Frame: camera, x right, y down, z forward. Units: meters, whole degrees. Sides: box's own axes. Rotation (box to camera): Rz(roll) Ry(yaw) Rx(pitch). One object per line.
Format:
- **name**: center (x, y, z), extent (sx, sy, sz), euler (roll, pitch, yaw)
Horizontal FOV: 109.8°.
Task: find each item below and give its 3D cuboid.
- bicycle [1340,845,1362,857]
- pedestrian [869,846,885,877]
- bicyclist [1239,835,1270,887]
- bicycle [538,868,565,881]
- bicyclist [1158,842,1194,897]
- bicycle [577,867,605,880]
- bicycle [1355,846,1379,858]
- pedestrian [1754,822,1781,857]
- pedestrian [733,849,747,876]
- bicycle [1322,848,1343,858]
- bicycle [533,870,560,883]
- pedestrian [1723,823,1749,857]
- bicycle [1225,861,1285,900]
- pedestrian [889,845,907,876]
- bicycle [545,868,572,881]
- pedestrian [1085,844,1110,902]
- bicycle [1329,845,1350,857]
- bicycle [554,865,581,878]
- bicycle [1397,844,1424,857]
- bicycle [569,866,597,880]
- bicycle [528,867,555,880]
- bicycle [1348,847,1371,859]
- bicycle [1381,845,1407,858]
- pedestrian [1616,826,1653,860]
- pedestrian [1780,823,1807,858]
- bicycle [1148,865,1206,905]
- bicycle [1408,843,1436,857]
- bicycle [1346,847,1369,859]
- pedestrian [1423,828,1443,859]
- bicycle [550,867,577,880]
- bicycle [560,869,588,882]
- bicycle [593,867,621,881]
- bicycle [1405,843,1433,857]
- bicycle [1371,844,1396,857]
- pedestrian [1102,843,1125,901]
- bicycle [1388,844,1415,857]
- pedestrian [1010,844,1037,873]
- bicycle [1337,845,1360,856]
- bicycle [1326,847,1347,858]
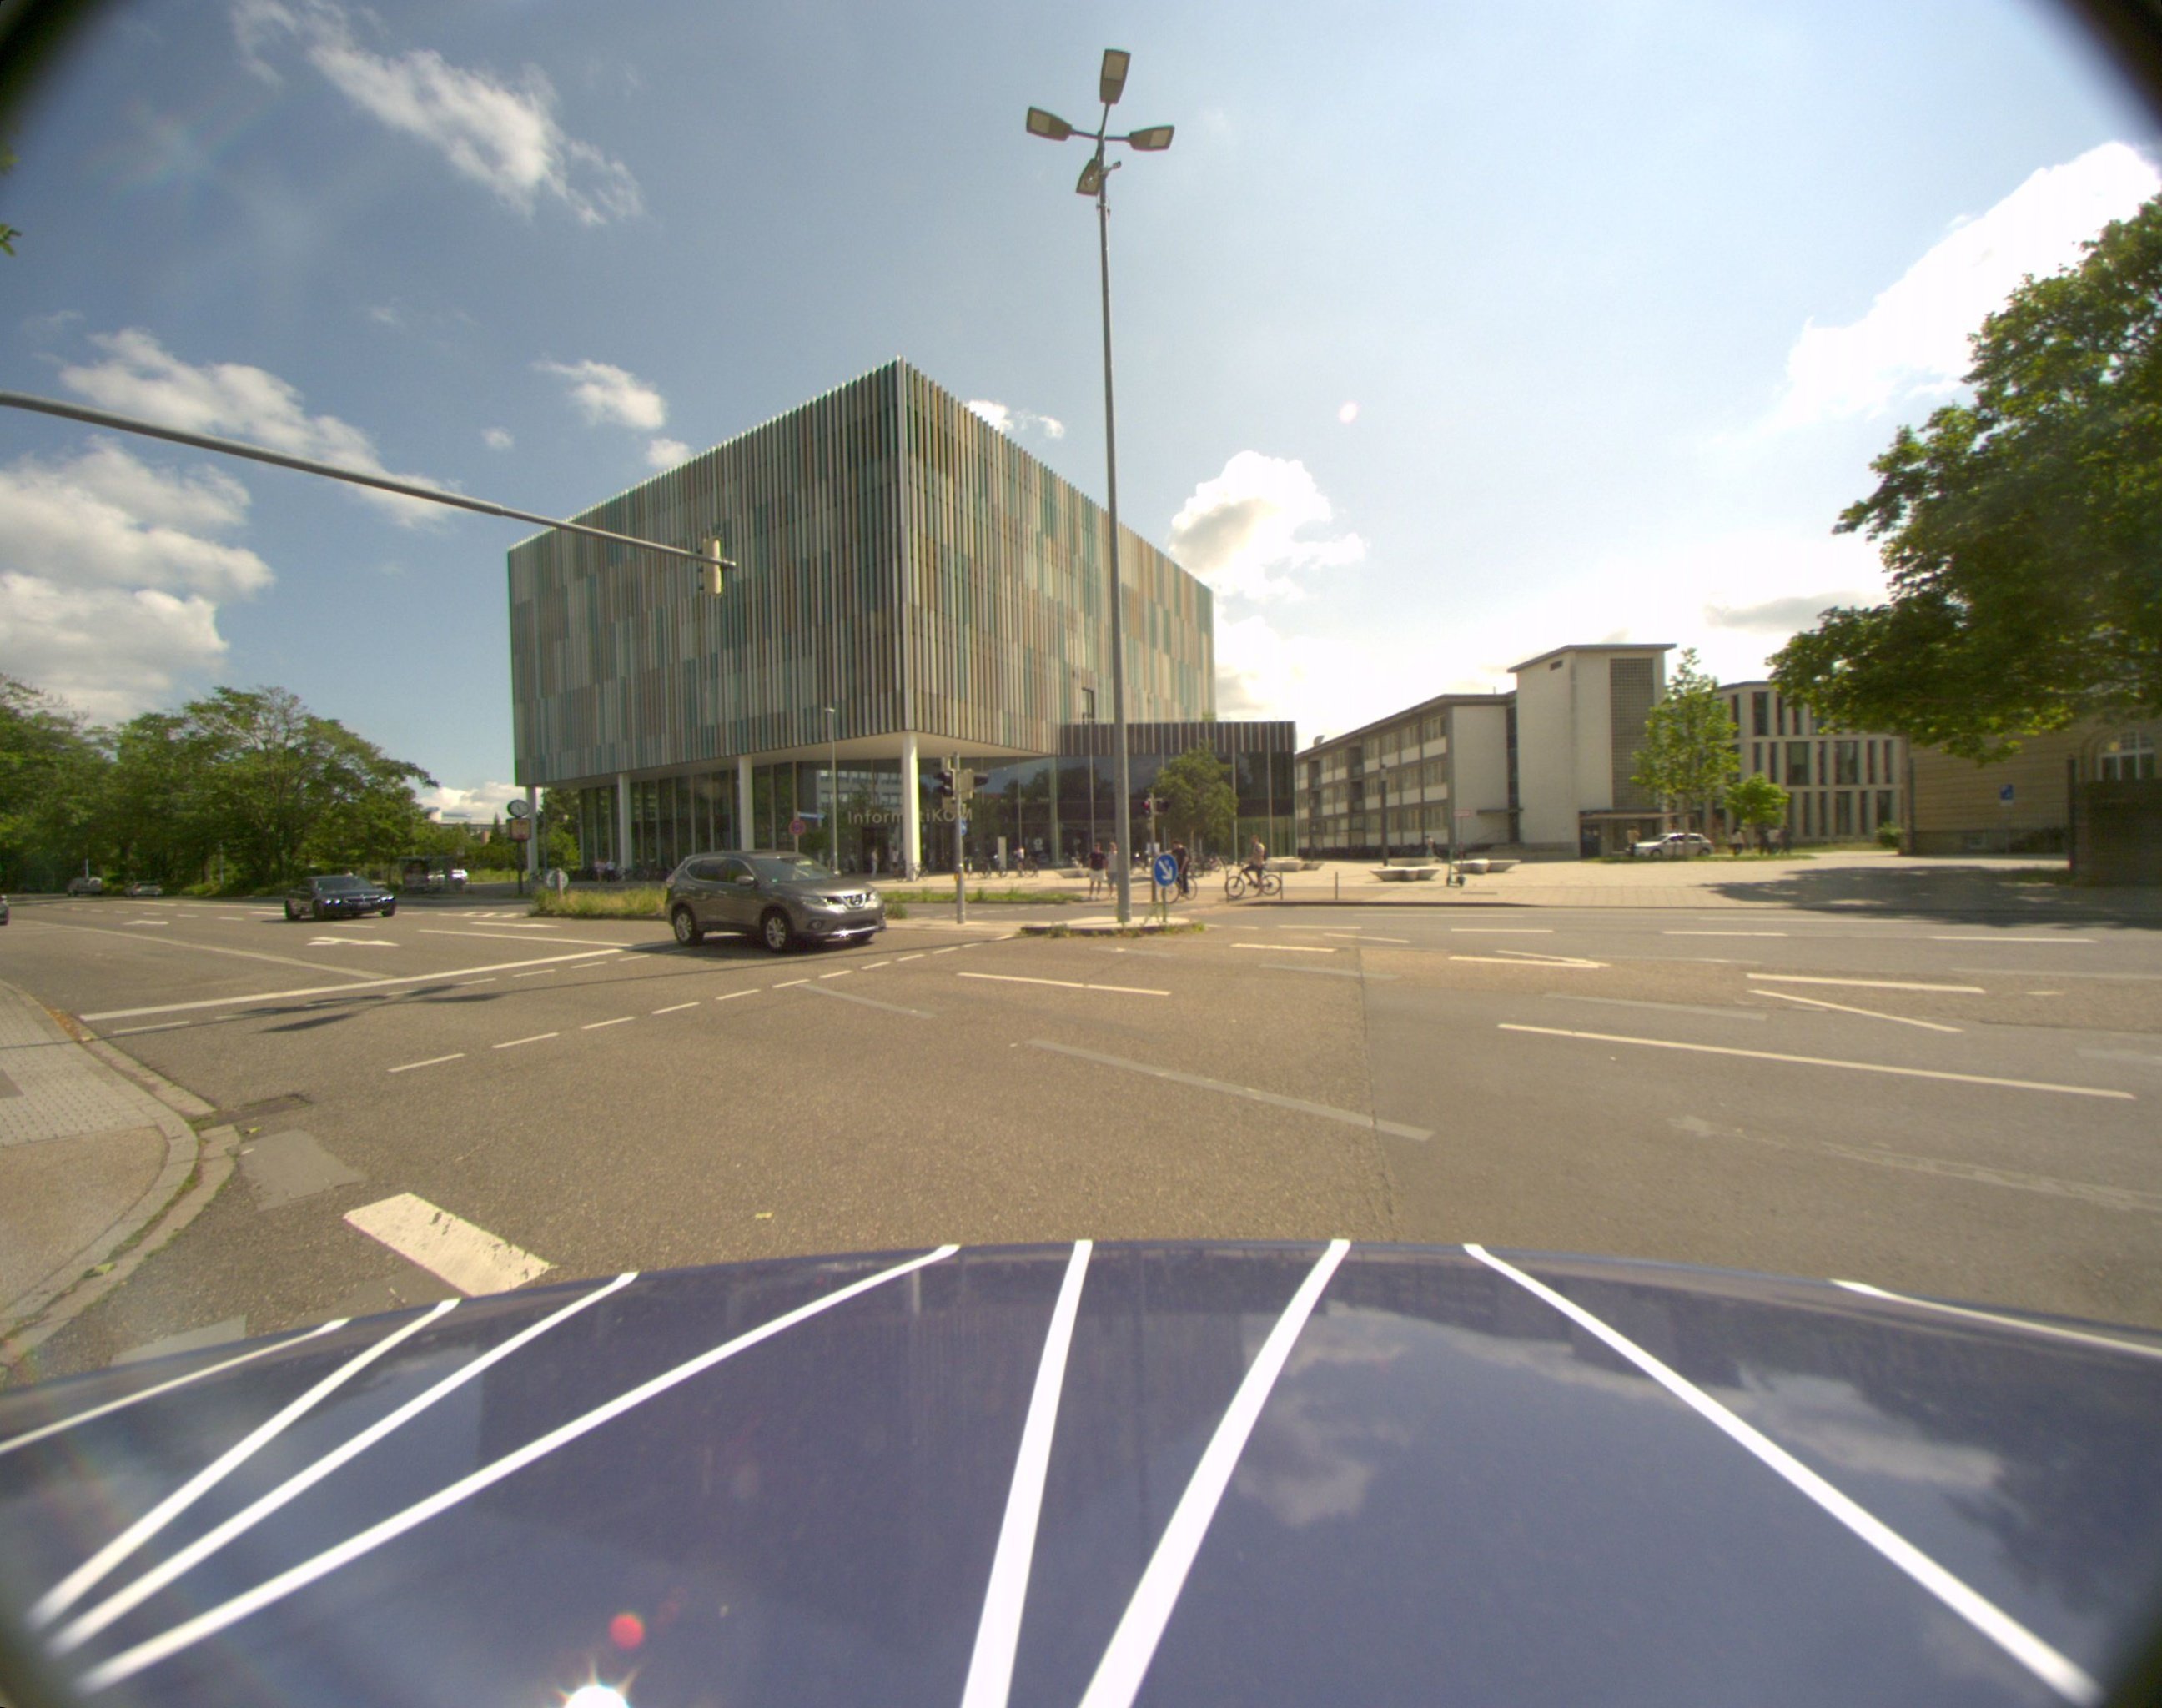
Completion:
- **bicycle**: center (23.516, -0.245, 66.219), extent (1.772, 0.950, 0.529), euler (-1, 3, 3)
- **pedestrian**: center (-12.355, 0.438, 45.929), extent (0.790, 1.831, 0.516), euler (-3, 2, -24)
- **bicyclist**: center (5.253, 0.199, 23.031), extent (0.785, 1.529, 0.657), euler (-2, 1, 7)
- **bicycle**: center (-43.564, 1.667, 62.551), extent (0.432, 0.950, 1.788), euler (-1, 2, 31)
- **bicyclist**: center (2.871, 0.450, 23.012), extent (0.998, 1.606, 0.657), euler (-2, 1, 2)
- **bicycle**: center (-38.477, 1.516, 59.703), extent (0.432, 0.950, 1.788), euler (-1, 2, 31)
- **bicycle**: center (23.519, -0.159, 62.491), extent (1.772, 0.950, 0.529), euler (-1, 3, 3)
- **pedestrian**: center (35.897, -0.741, 39.741), extent (0.845, 1.779, 0.890), euler (-2, 1, -38)
- **pedestrian**: center (-23.972, 0.610, 53.386), extent (0.553, 1.831, 0.563), euler (-1, 2, 24)
- **bicycle**: center (23.343, -0.094, 70.641), extent (1.772, 0.950, 0.529), euler (-1, 3, 3)
- **bicycle**: center (-44.420, 1.889, 63.134), extent (0.432, 0.950, 1.788), euler (-1, 2, 31)
- **pedestrian**: center (35.320, -0.769, 40.971), extent (0.845, 1.779, 0.812), euler (-2, 1, -27)
- **bicycle**: center (5.274, 0.805, 23.066), extent (1.669, 1.118, 0.695), euler (-2, 1, 6)
- **pedestrian**: center (-11.200, 0.393, 46.489), extent (0.676, 1.831, 0.692), euler (0, 2, 39)
- **bicycle**: center (-42.683, 1.677, 62.069), extent (0.432, 0.950, 1.788), euler (-1, 2, 31)
- **pedestrian**: center (0.542, 0.596, 24.392), extent (0.632, 1.831, 0.480), euler (-1, 2, 17)
- **bicycle**: center (23.378, -0.277, 68.704), extent (1.772, 0.950, 0.529), euler (-1, 3, 3)
- **bicycle**: center (-41.467, 1.391, 61.371), extent (0.432, 0.950, 1.788), euler (-1, 2, 31)
- **bicycle**: center (24.394, -0.257, 56.302), extent (1.772, 0.950, 0.529), euler (-1, 3, 3)
- **bicycle**: center (-39.380, 1.478, 60.074), extent (0.432, 0.950, 1.788), euler (-1, 2, 31)
- **bicycle**: center (-45.053, 1.625, 63.475), extent (0.432, 0.950, 1.788), euler (-1, 2, 31)
- **bicycle**: center (23.396, -0.085, 63.803), extent (1.772, 0.950, 0.529), euler (-1, 3, 3)
- **bicycle**: center (24.209, -0.202, 58.727), extent (1.772, 0.950, 0.529), euler (-1, 3, 3)
- **pedestrian**: center (27.920, -0.567, 38.320), extent (1.296, 1.641, 1.329), euler (-1, 1, 44)
- **pedestrian**: center (36.404, -0.691, 38.816), extent (0.845, 1.779, 0.863), euler (-2, 1, -38)
- **bicycle**: center (2.895, 0.929, 23.017), extent (1.669, 1.118, 0.695), euler (-2, 1, 3)
- **bicycle**: center (24.269, -0.275, 54.110), extent (1.772, 0.950, 0.529), euler (-1, 3, 3)
- **bicycle**: center (23.504, -0.096, 64.693), extent (1.772, 0.950, 0.529), euler (-1, 3, 3)
- **pedestrian**: center (20.708, -0.621, 44.707), extent (0.843, 1.779, 0.677), euler (-2, 1, 1)
- **bicycle**: center (-42.004, 1.594, 61.691), extent (0.432, 0.950, 1.788), euler (-1, 2, 31)
- **bicycle**: center (-40.548, 1.706, 60.818), extent (0.432, 0.950, 1.788), euler (-1, 2, 31)
- **bicycle**: center (-36.362, 1.540, 58.333), extent (0.432, 0.950, 1.788), euler (-1, 2, 31)
- **bicycle**: center (24.491, -0.262, 54.997), extent (1.772, 0.950, 0.529), euler (-1, 3, 3)
- **bicycle**: center (23.851, -0.257, 59.908), extent (1.772, 0.950, 0.529), euler (-1, 3, 3)
- **pedestrian**: center (1.045, 0.583, 24.331), extent (0.574, 1.831, 0.416), euler (-1, 2, 26)
- **bicycle**: center (24.305, -0.259, 57.626), extent (1.772, 0.950, 0.529), euler (-1, 3, 3)
- **pedestrian**: center (-3.305, 0.276, 44.022), extent (1.012, 1.641, 1.185), euler (-1, 1, 32)
- **bicycle**: center (23.534, -0.287, 66.875), extent (1.772, 0.950, 0.529), euler (-1, 3, 3)
- **bicycle**: center (23.340, -0.119, 69.375), extent (1.772, 0.950, 0.529), euler (-1, 3, 3)
